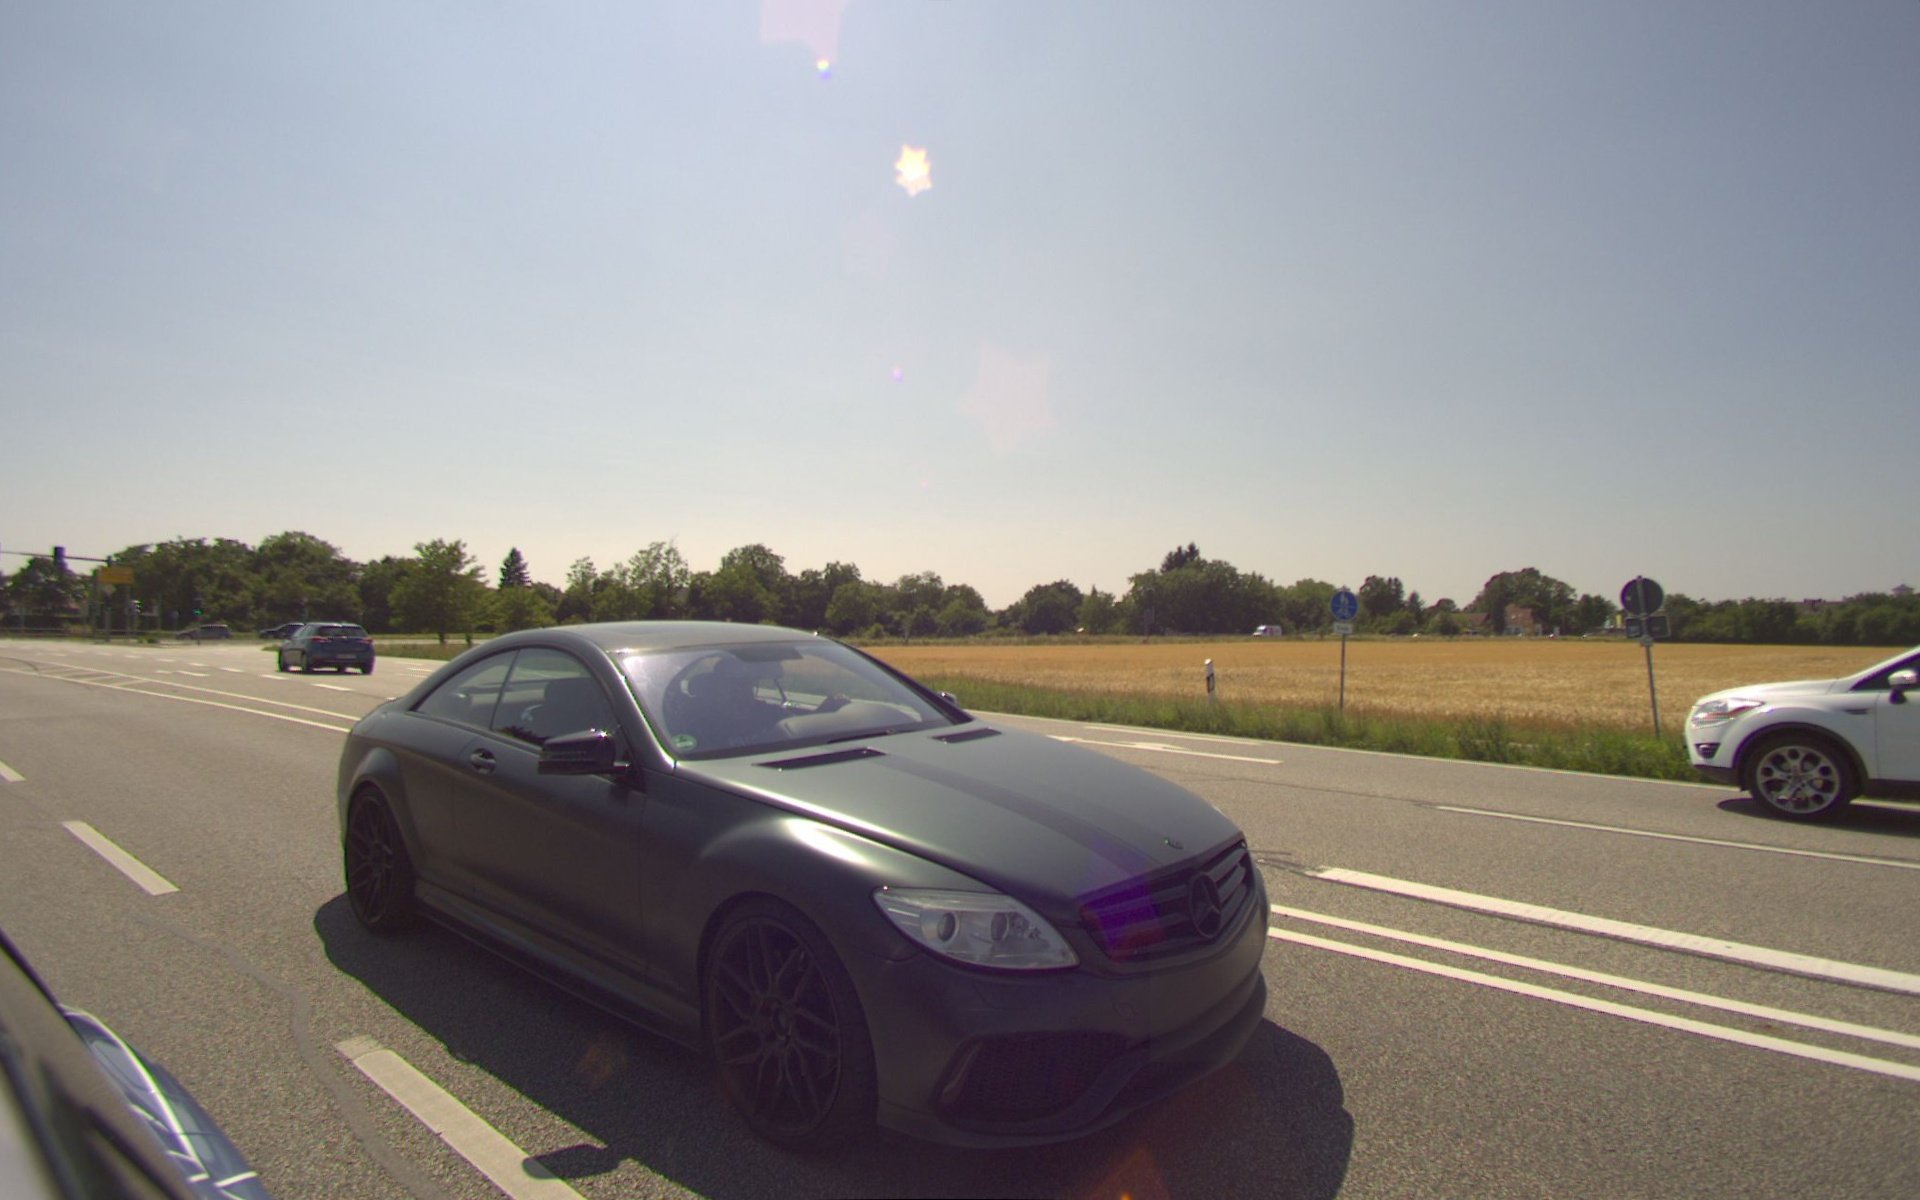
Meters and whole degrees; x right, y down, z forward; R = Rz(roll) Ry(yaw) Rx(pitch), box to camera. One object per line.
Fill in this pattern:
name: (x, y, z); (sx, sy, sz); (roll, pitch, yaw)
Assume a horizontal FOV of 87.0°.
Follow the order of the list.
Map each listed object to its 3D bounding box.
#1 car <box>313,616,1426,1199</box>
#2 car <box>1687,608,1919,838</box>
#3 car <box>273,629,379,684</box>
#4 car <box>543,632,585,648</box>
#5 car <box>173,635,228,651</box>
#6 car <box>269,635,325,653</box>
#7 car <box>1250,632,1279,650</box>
car: (-0.892, 0.835, 4.261); (4.874, 1.461, 1.792); (-2, -1, 41)
car: (8.241, 0.922, 7.424); (1.645, 1.689, 4.466); (4, -4, -43)
car: (-18.647, 1.621, 29.683); (1.739, 1.468, 4.234); (4, -4, -44)
car: (-43.202, 4.339, 110.394); (3.933, 1.586, 1.743); (0, 0, -34)
car: (-67.703, 3.821, 90.218); (3.818, 1.397, 1.638); (1, -3, -39)
car: (-61.916, 4.083, 94.544); (4.298, 1.606, 1.638); (3, -3, -37)
car: (55.824, 7.506, 185.429); (6.282, 2.931, 2.003); (0, 0, -41)
